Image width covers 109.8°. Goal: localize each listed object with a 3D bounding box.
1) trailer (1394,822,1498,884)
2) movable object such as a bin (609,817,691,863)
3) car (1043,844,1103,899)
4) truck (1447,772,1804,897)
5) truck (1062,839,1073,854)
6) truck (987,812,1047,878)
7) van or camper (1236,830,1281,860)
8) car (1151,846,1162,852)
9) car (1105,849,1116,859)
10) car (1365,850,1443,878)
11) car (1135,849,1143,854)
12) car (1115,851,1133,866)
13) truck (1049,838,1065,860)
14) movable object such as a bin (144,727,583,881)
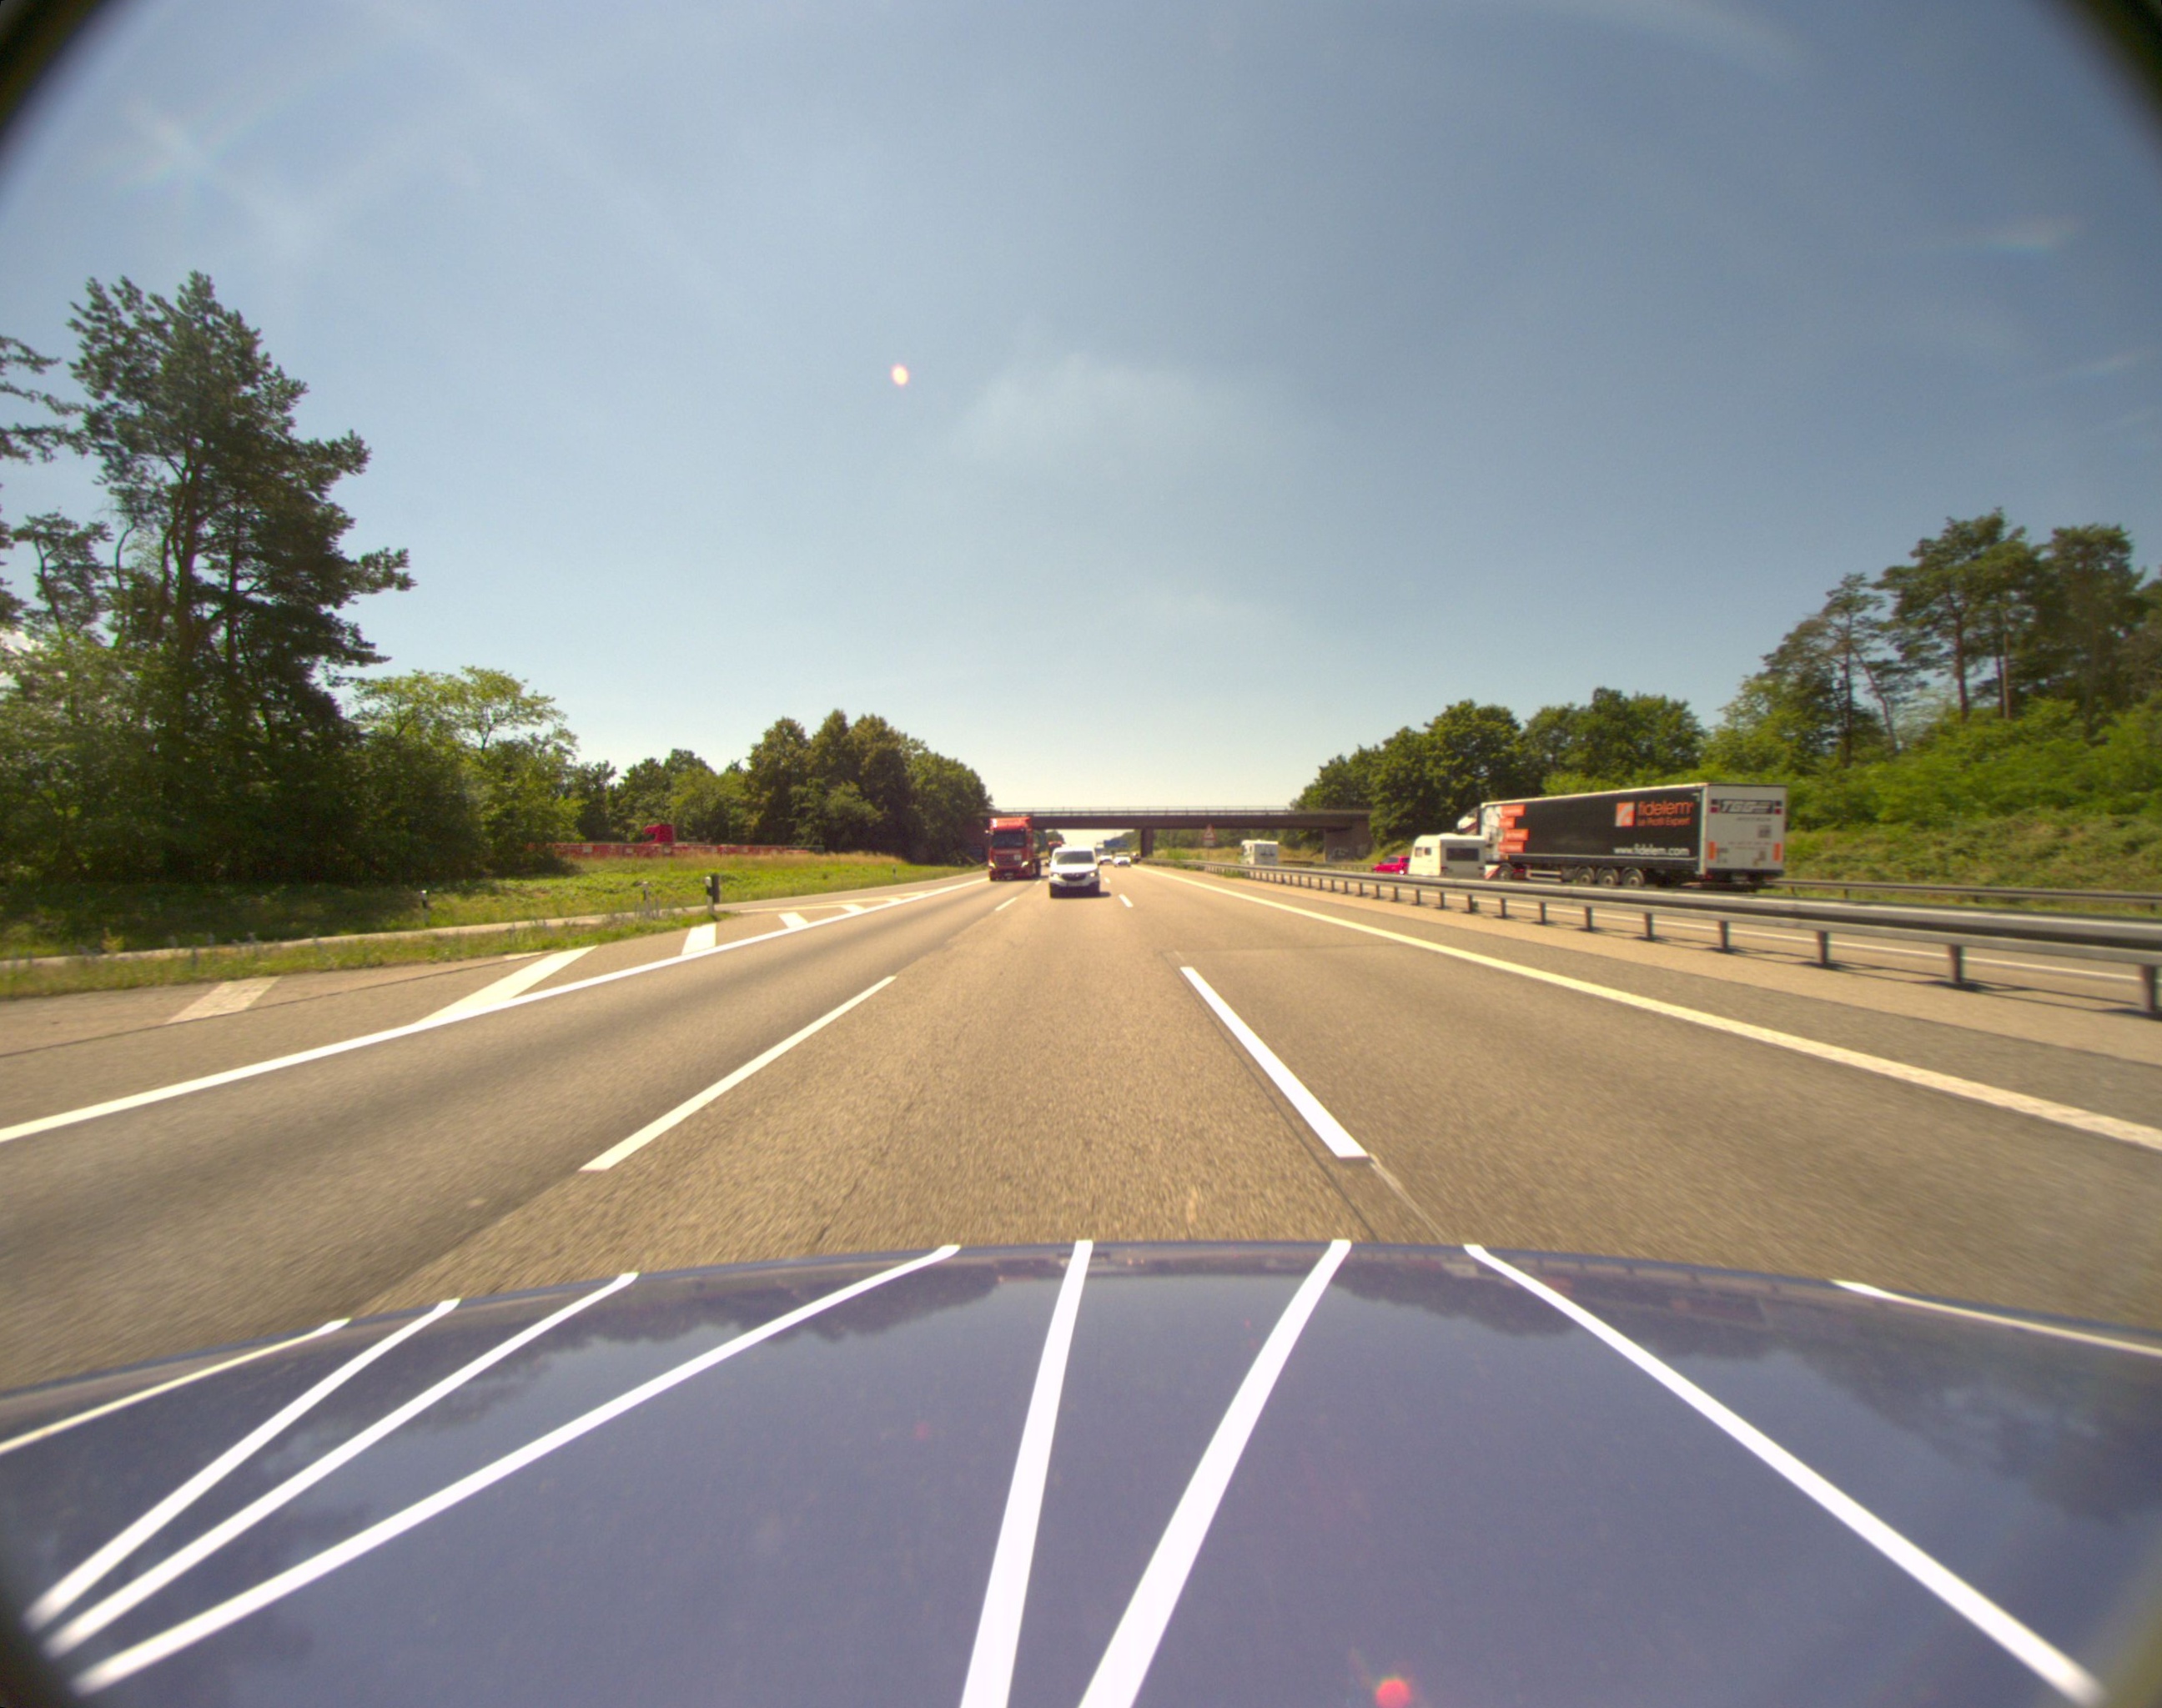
[{"bbox_3d":[17.336,-0.049,36.411,2.483,2.732,5.074,1,0,0],"label":"trailer"},{"bbox_3d":[-43.431,-1.384,76.668,5.921,4.285,3.817,-2,1,10],"label":"movable object such as a bin"},{"bbox_3d":[-0.198,0.571,28.303,1.870,1.807,4.941,-2,0,3],"label":"car"},{"bbox_3d":[21.347,-0.695,32.549,3.334,3.973,16.865,0,1,1],"label":"truck"},{"bbox_3d":[-3.562,-2.027,201.731,2.603,3.979,6.173,-2,0,0],"label":"truck"},{"bbox_3d":[-4.021,-0.549,50.548,2.687,3.776,12.477,-2,0,0],"label":"truck"},{"bbox_3d":[17.566,-0.845,75.582,2.508,2.794,8.560,0,1,0],"label":"van or camper"},{"bbox_3d":[19.150,-1.240,192.498,2.233,1.601,5.059,1,0,0],"label":"car"},{"bbox_3d":[4.539,-0.019,118.104,1.581,1.411,3.353,-2,-2,0],"label":"car"},{"bbox_3d":[17.466,0.521,41.341,2.233,1.372,4.691,1,0,0],"label":"car"},{"bbox_3d":[18.022,-0.754,236.490,2.233,1.601,5.059,1,0,0],"label":"car"},{"bbox_3d":[4.456,0.473,78.654,1.581,1.411,3.353,-2,-1,0],"label":"car"},{"bbox_3d":[-4.243,-0.838,136.611,2.535,3.712,6.098,-2,0,0],"label":"truck"},{"bbox_3d":[-44.745,-2.697,50.665,3.135,7.880,22.818,-2,0,14],"label":"movable object such as a bin"}]
